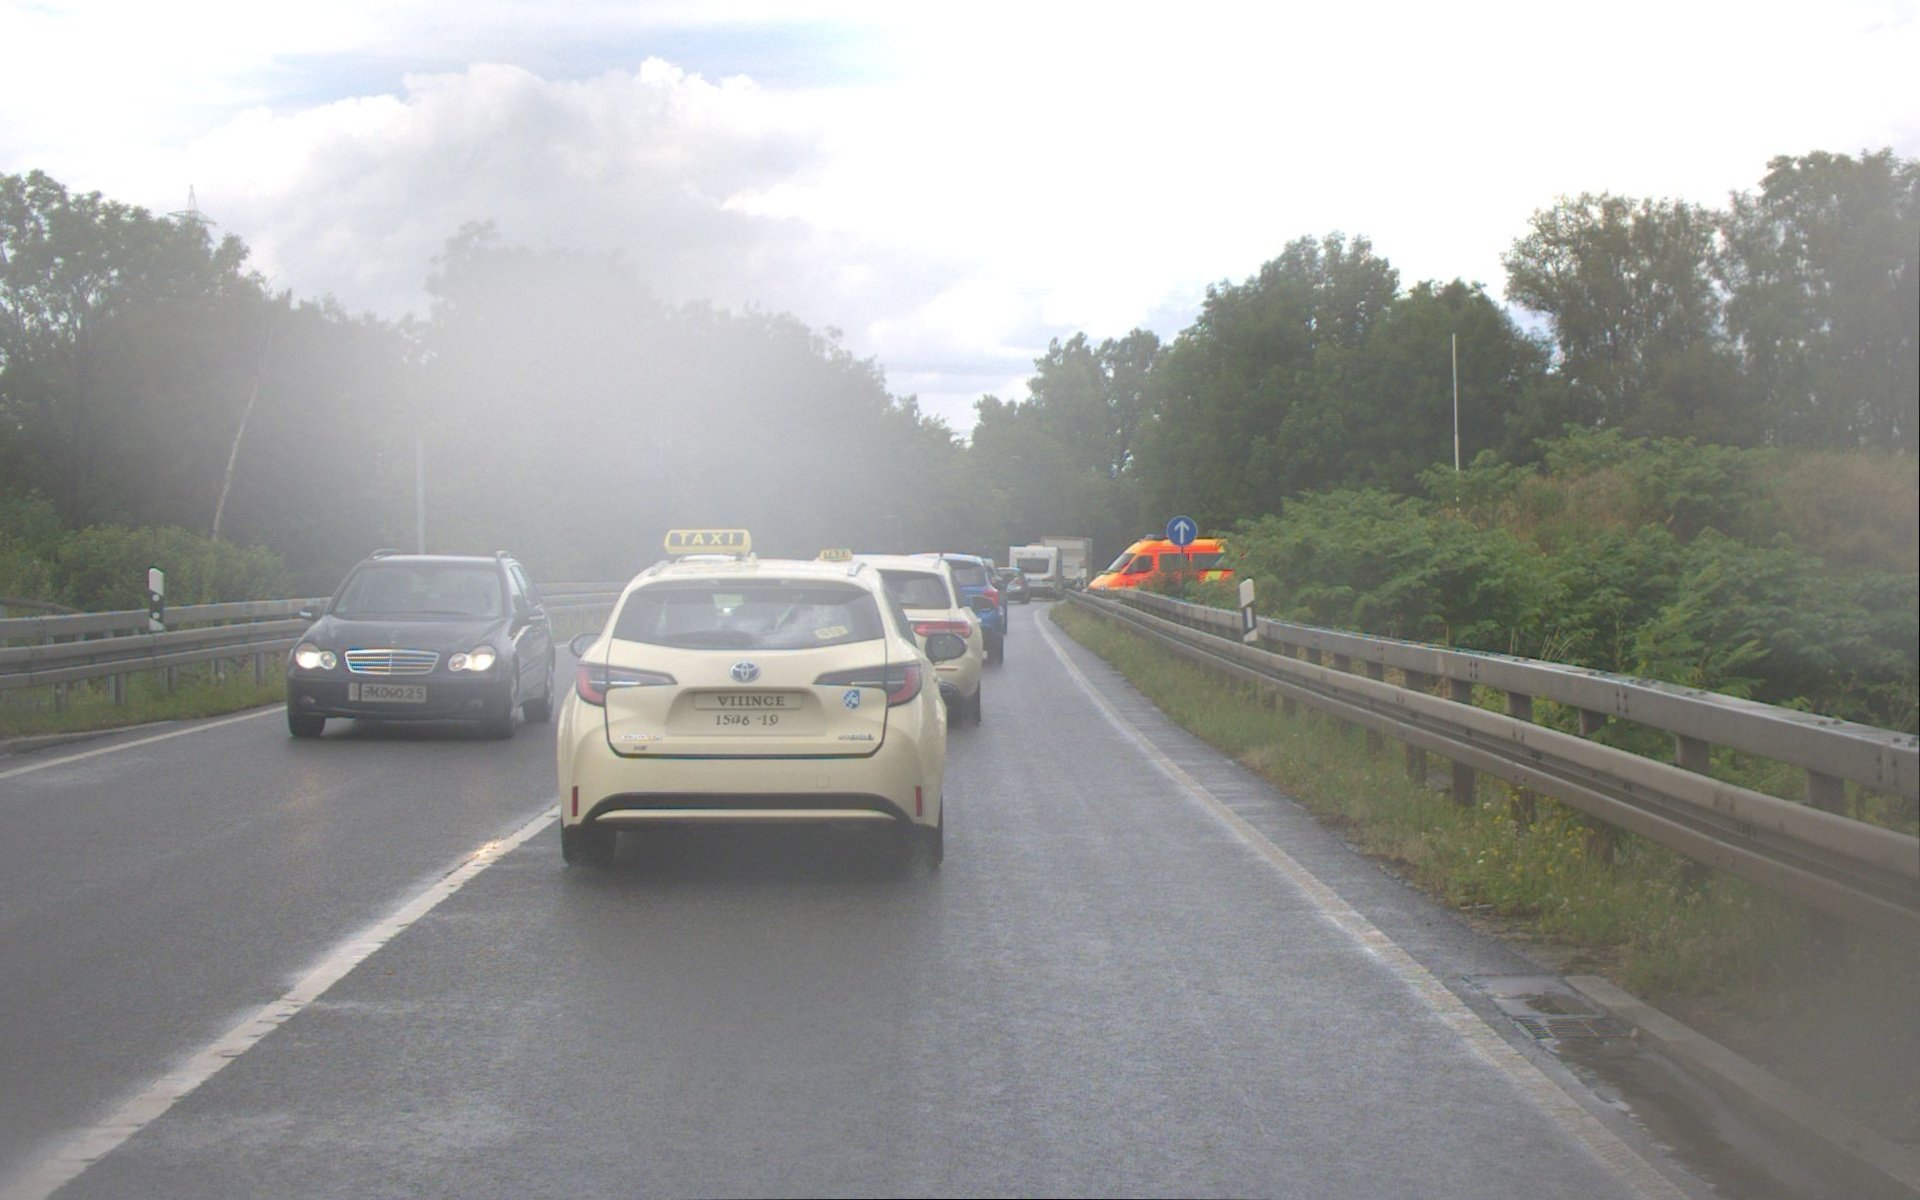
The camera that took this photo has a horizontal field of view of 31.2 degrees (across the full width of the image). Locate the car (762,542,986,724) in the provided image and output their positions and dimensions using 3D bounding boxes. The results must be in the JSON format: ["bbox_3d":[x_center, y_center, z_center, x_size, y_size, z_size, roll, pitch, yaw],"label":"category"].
[{"bbox_3d":[-0.745,0.245,31.000,1.854,1.438,4.171,1,2,-1],"label":"car"}]

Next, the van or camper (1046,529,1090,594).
[{"bbox_3d":[6.133,-2.224,196.039,2.333,3.550,6.307,1,1,1],"label":"van or camper"}]

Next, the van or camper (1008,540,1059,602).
[{"bbox_3d":[3.527,-1.440,165.432,2.333,2.854,6.307,1,1,1],"label":"van or camper"}]

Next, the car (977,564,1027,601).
[{"bbox_3d":[1.759,-0.730,142.554,1.854,1.438,4.170,1,1,3],"label":"car"}]

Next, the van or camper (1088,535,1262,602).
[{"bbox_3d":[7.499,-1.104,119.914,5.676,2.234,2.021,1,1,-14],"label":"van or camper"}]

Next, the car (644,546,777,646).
[{"bbox_3d":[-4.003,-0.100,55.730,1.810,1.504,4.611,1,1,0],"label":"car"}]

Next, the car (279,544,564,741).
[{"bbox_3d":[-4.288,0.285,27.960,1.696,1.427,4.324,1,1,-1],"label":"car"}]

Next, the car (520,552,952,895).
[{"bbox_3d":[-0.994,0.508,17.002,1.854,1.389,4.171,1,2,-1],"label":"car"}]

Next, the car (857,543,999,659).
[{"bbox_3d":[-0.449,-0.020,47.614,1.854,1.438,4.171,1,2,-1],"label":"car"}]
